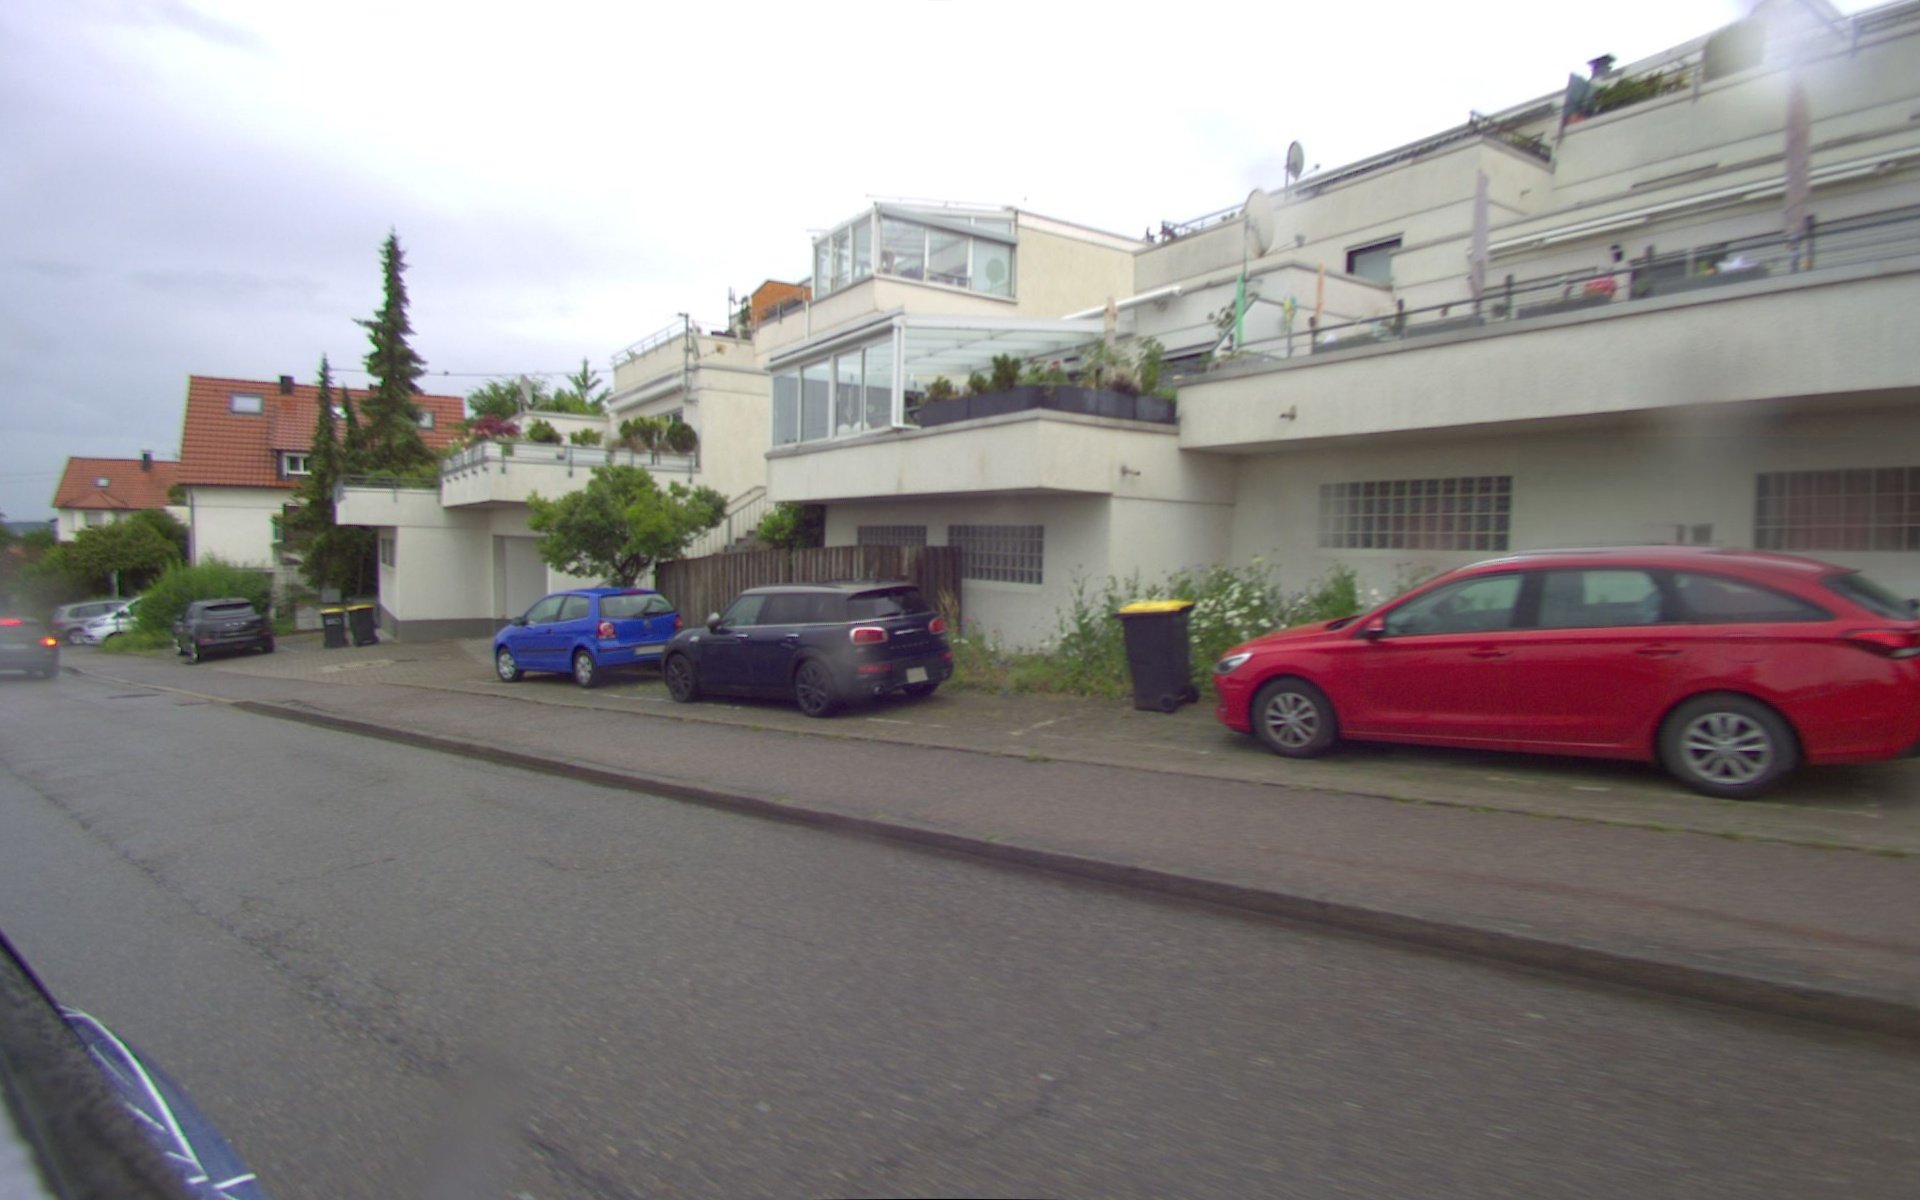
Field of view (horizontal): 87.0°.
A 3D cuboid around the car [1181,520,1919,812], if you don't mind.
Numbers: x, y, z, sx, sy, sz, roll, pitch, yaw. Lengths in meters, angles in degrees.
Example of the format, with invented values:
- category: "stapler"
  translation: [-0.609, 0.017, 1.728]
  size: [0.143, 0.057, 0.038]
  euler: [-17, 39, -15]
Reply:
- category: "car"
  translation: [4.082, 0.329, 7.177]
  size: [4.586, 1.447, 1.756]
  euler: [-1, 5, 41]

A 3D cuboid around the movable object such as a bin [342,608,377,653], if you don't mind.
- category: "movable object such as a bin"
  translation: [-16.048, 0.807, 27.035]
  size: [0.715, 1.078, 0.769]
  euler: [-6, 5, -31]

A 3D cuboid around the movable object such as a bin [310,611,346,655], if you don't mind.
- category: "movable object such as a bin"
  translation: [-17.097, 0.877, 27.383]
  size: [0.715, 1.078, 0.852]
  euler: [-6, 5, -31]

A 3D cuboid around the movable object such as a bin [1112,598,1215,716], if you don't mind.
- category: "movable object such as a bin"
  translation: [2.012, 0.544, 10.023]
  size: [0.633, 1.092, 0.752]
  euler: [-2, 1, -43]

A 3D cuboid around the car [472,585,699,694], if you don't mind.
- category: "car"
  translation: [-6.067, 0.601, 16.198]
  size: [3.956, 1.444, 1.591]
  euler: [-2, 3, 40]

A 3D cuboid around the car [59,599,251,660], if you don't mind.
- category: "car"
  translation: [-27.738, 0.975, 35.148]
  size: [5.015, 1.959, 2.147]
  euler: [0, 0, -33]

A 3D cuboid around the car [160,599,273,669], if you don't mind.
- category: "car"
  translation: [-20.680, 0.906, 28.092]
  size: [4.198, 1.599, 1.671]
  euler: [-1, 6, 44]

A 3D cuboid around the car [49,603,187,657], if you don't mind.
- category: "car"
  translation: [-33.667, 1.156, 40.631]
  size: [4.002, 1.704, 1.898]
  euler: [-6, 4, -36]

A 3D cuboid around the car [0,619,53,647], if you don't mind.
- category: "car"
  translation: [-57.442, 1.916, 61.029]
  size: [3.775, 1.489, 1.808]
  euler: [7, -4, -34]

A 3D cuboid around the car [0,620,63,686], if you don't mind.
- category: "car"
  translation: [-22.601, 1.205, 23.700]
  size: [4.359, 1.448, 1.756]
  euler: [-1, -3, 40]

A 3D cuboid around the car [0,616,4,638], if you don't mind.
- category: "car"
  translation: [-61.545, 1.758, 63.728]
  size: [1.745, 1.386, 4.253]
  euler: [-5, 3, -42]

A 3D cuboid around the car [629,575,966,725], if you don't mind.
- category: "car"
  translation: [-2.083, 0.526, 12.210]
  size: [4.237, 1.406, 1.617]
  euler: [-1, 4, 41]

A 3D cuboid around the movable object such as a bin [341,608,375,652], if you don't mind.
- category: "movable object such as a bin"
  translation: [-16.500, 0.814, 27.741]
  size: [0.715, 1.078, 0.769]
  euler: [-6, 5, -31]
